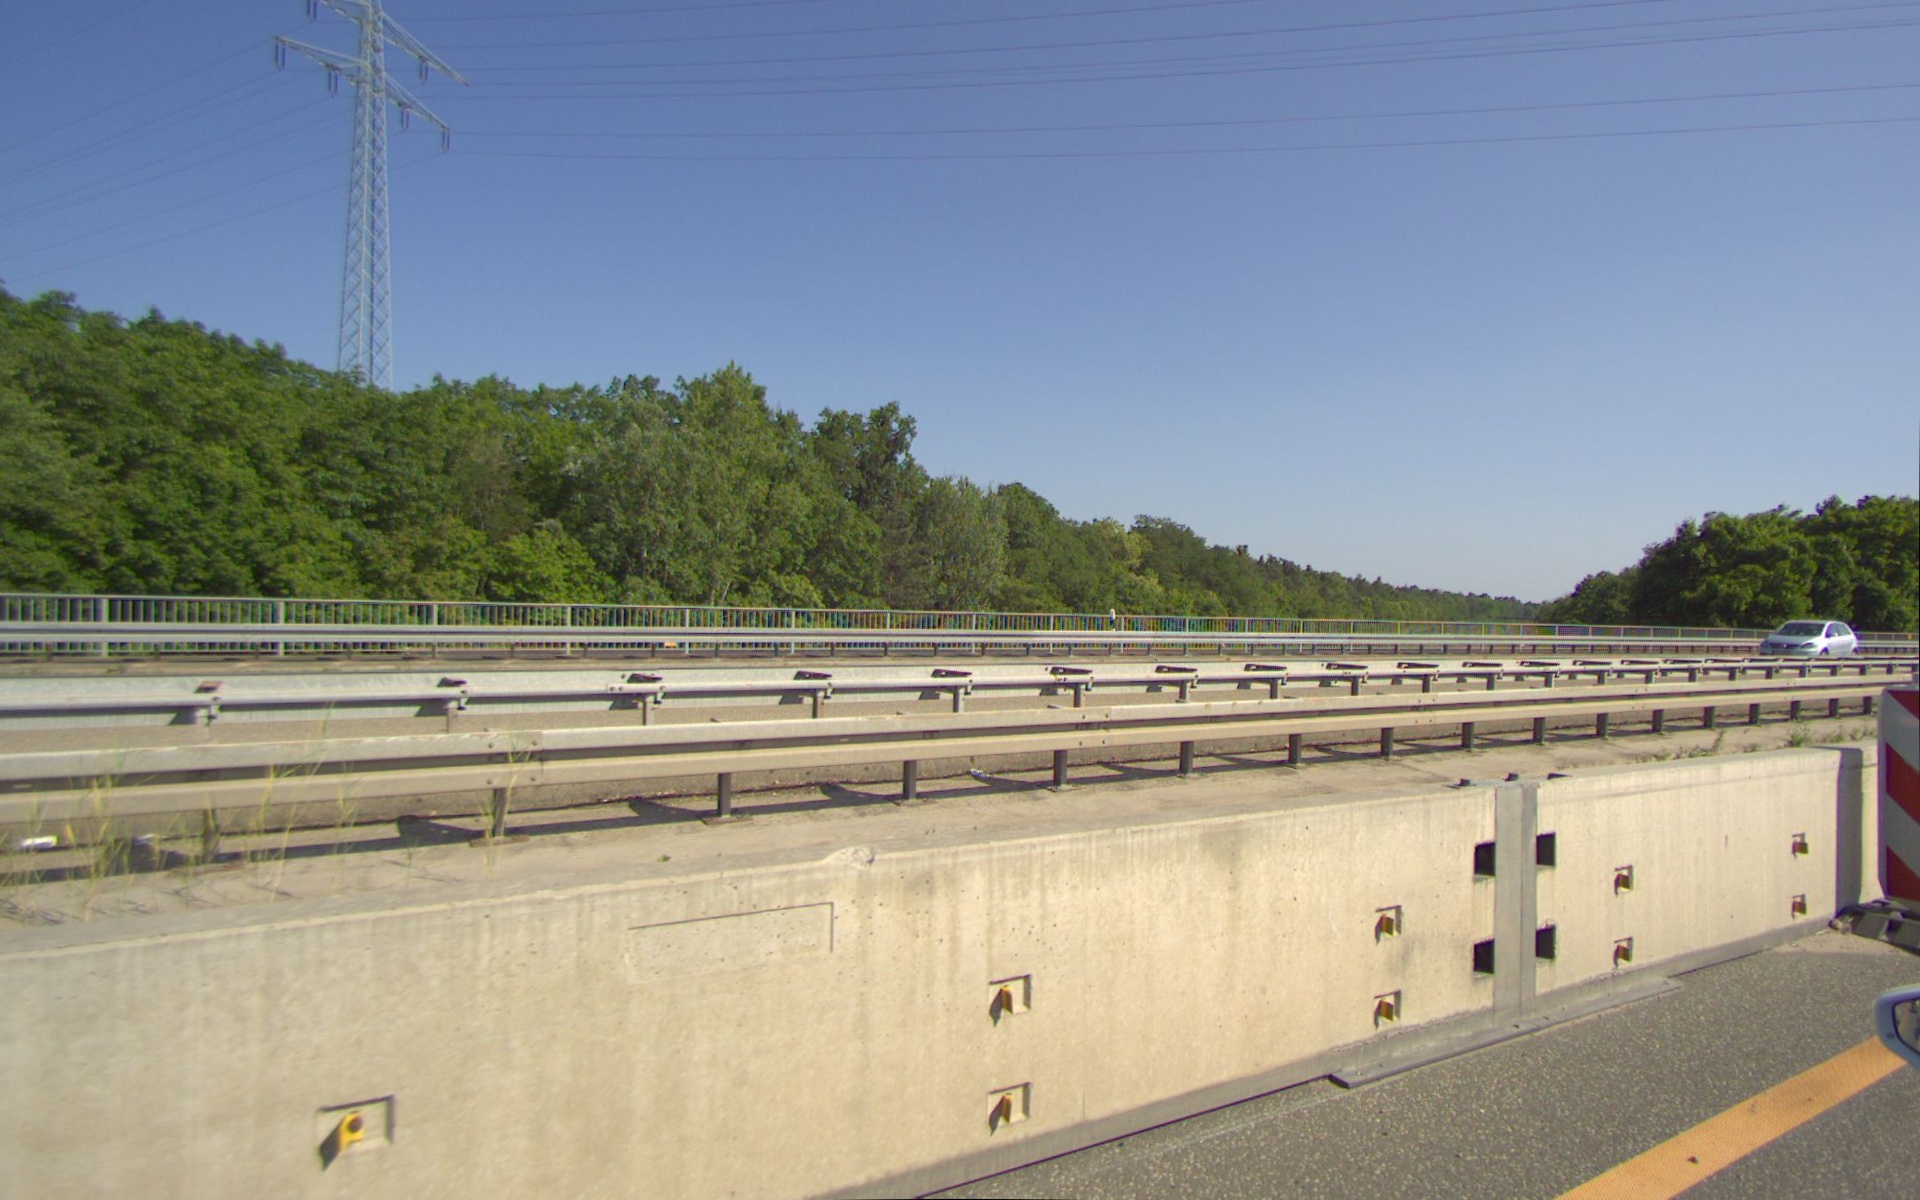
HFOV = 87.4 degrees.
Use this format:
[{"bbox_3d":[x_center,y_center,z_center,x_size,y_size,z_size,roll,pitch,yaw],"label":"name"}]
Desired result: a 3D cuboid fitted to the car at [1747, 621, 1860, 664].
[{"bbox_3d":[29.095,1.448,34.616,4.078,1.411,1.768,2,-1,-31],"label":"car"}]
